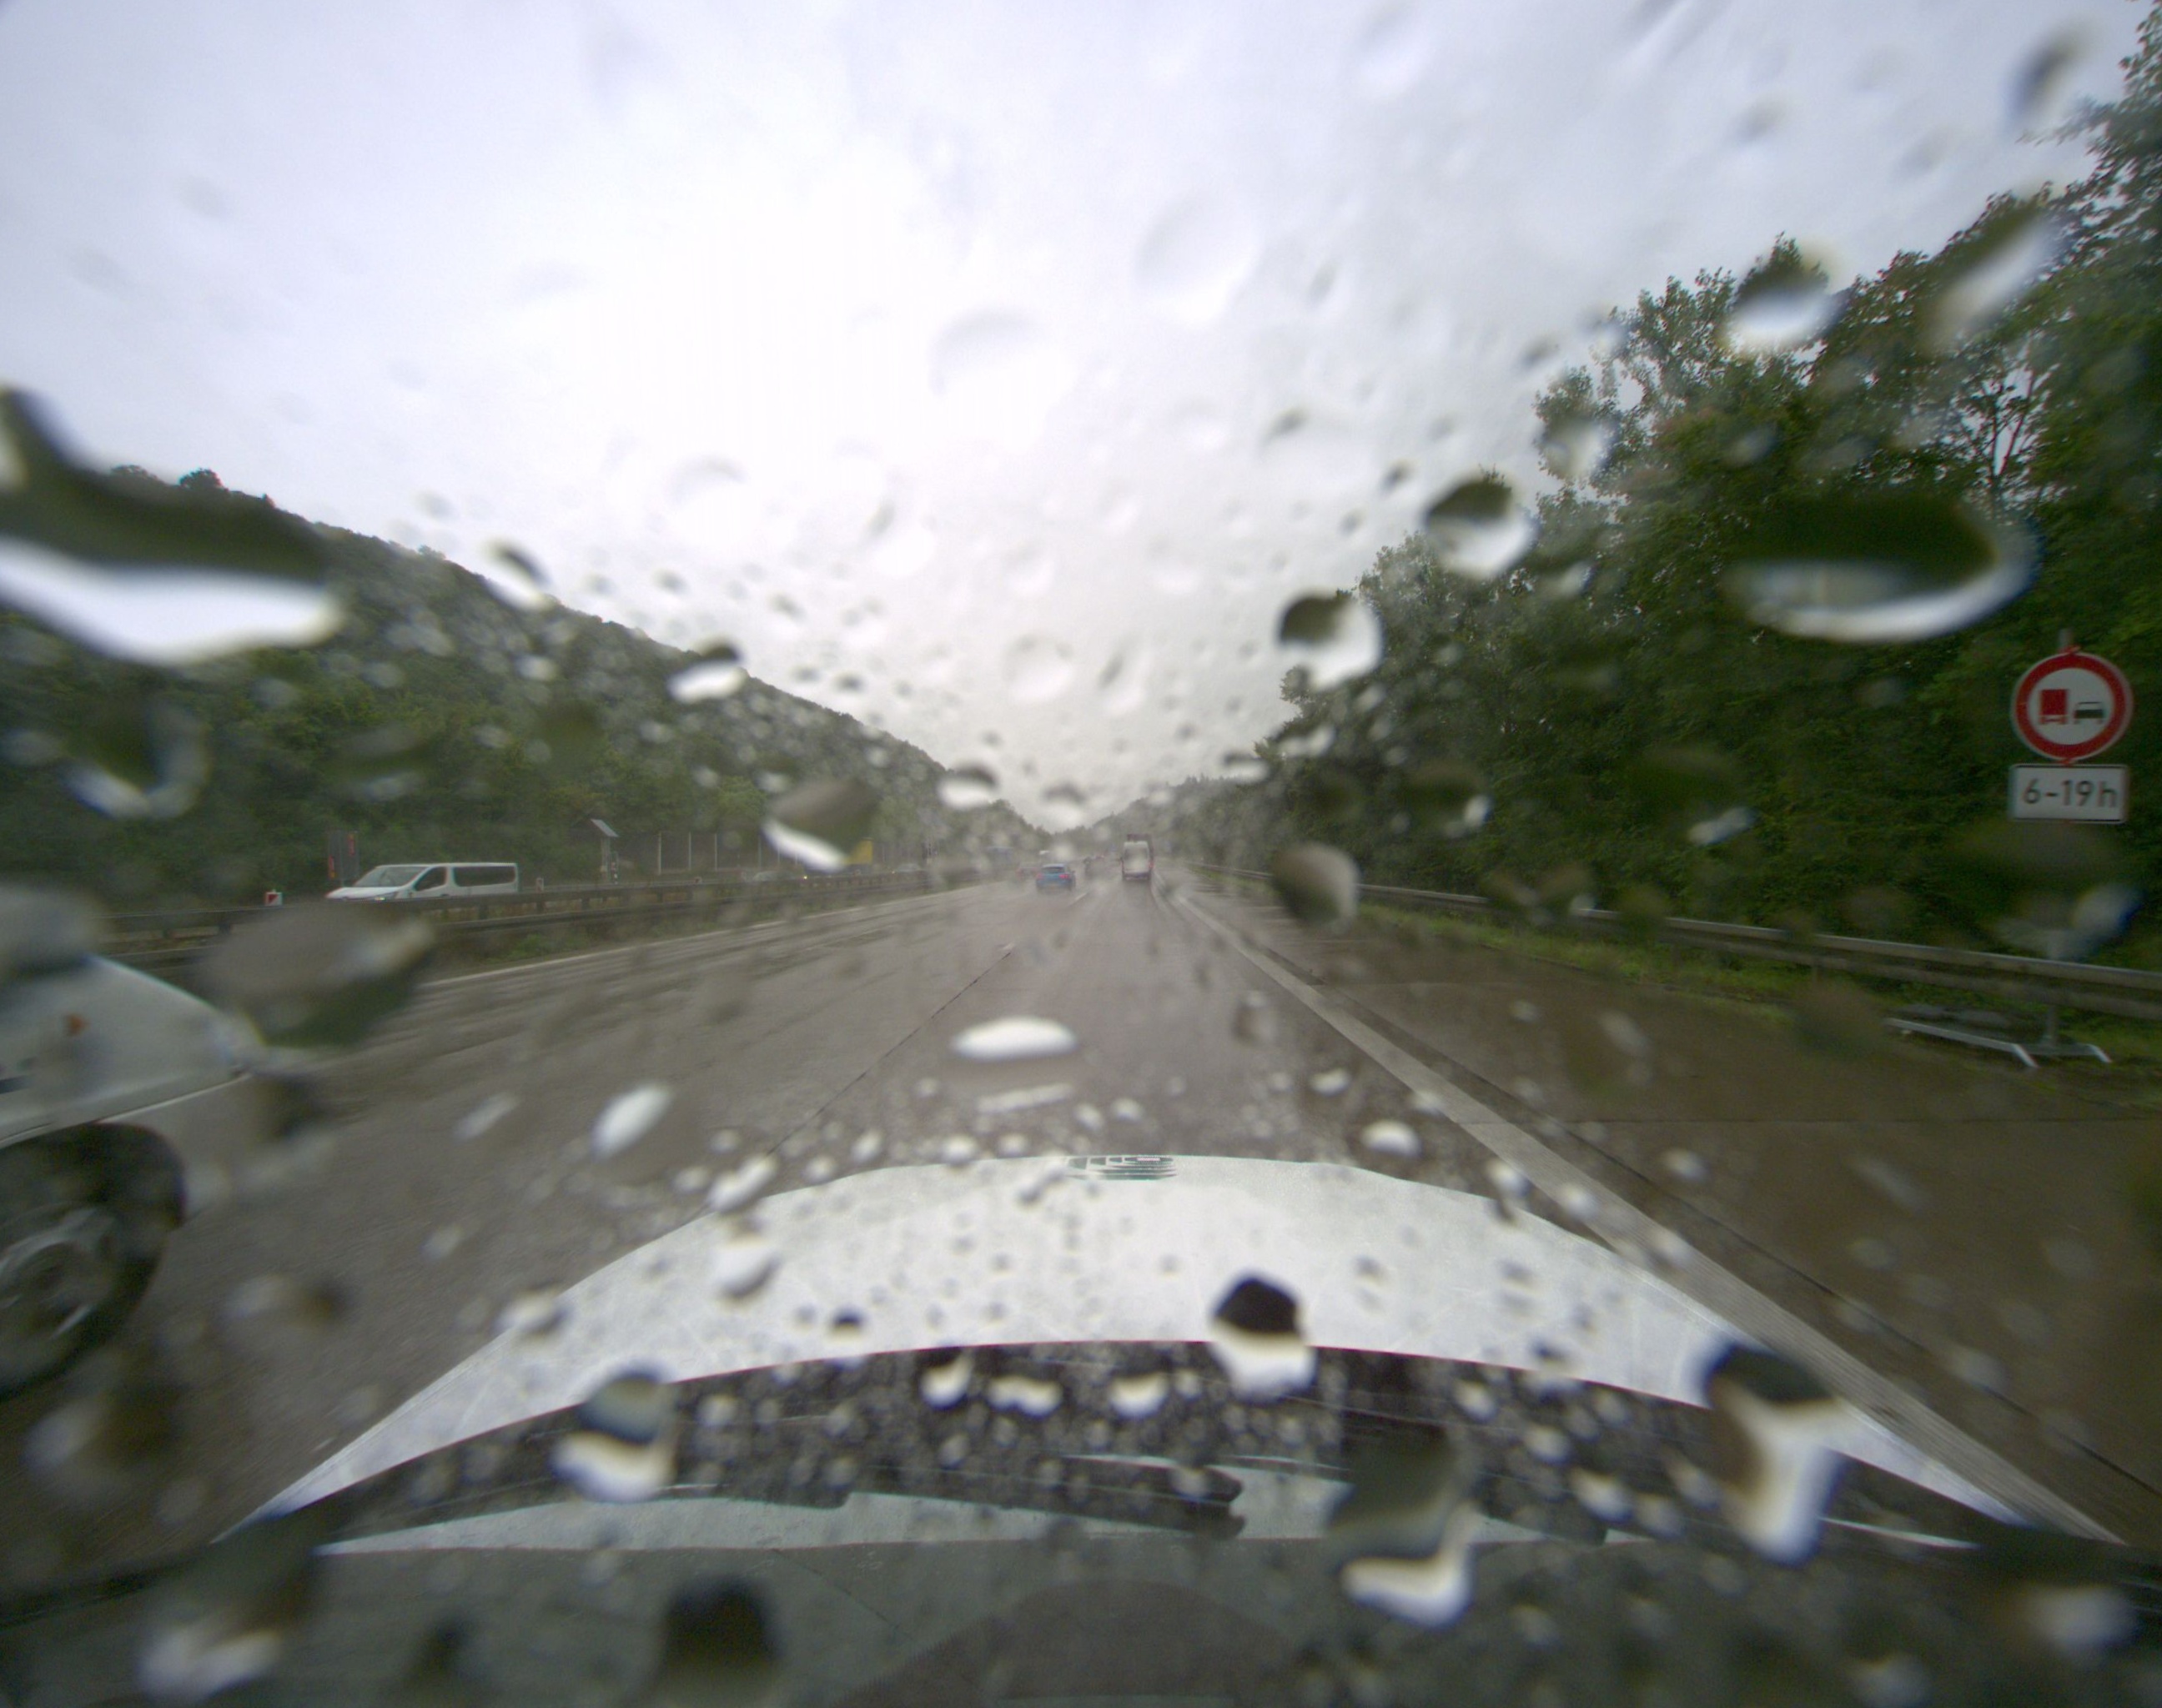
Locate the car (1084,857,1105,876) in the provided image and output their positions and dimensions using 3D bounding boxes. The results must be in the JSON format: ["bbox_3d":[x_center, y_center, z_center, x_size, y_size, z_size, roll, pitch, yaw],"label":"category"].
[{"bbox_3d":[1.318,1.155,78.356,1.860,1.810,4.192,0,0,3],"label":"car"}]

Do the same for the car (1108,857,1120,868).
[{"bbox_3d":[4.928,1.287,121.437,1.607,1.628,4.192,0,0,4],"label":"car"}]

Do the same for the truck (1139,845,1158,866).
[{"bbox_3d":[12.796,0.351,153.130,3.074,3.910,9.072,0,-1,7],"label":"truck"}]

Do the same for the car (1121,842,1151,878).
[{"bbox_3d":[3.770,0.389,55.926,1.891,2.334,5.255,0,0,4],"label":"car"}]

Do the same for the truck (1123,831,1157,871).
[{"bbox_3d":[6.321,-0.411,87.098,3.370,3.968,8.678,-2,1,4],"label":"truck"}]

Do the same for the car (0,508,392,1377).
[{"bbox_3d":[-4.067,0.247,0.649,1.990,2.432,5.792,0,0,2],"label":"car"}]

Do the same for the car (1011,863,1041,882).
[{"bbox_3d":[-4.026,1.327,59.956,1.850,1.339,4.352,0,0,1],"label":"car"}]

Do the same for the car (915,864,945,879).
[{"bbox_3d":[-14.355,1.686,77.670,1.745,1.339,4.429,0,0,4],"label":"car"}]

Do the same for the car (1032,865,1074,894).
[{"bbox_3d":[-1.379,1.229,41.249,1.849,1.339,4.352,0,0,1],"label":"car"}]

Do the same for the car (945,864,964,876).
[{"bbox_3d":[-18.430,2.257,118.540,1.986,1.662,4.002,-1,0,2],"label":"car"}]

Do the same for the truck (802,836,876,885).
[{"bbox_3d":[-19.683,0.537,66.970,2.573,3.700,9.810,0,0,4],"label":"truck"}]

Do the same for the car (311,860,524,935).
[{"bbox_3d":[-19.718,1.210,24.612,1.969,2.014,5.201,0,-1,3],"label":"car"}]
